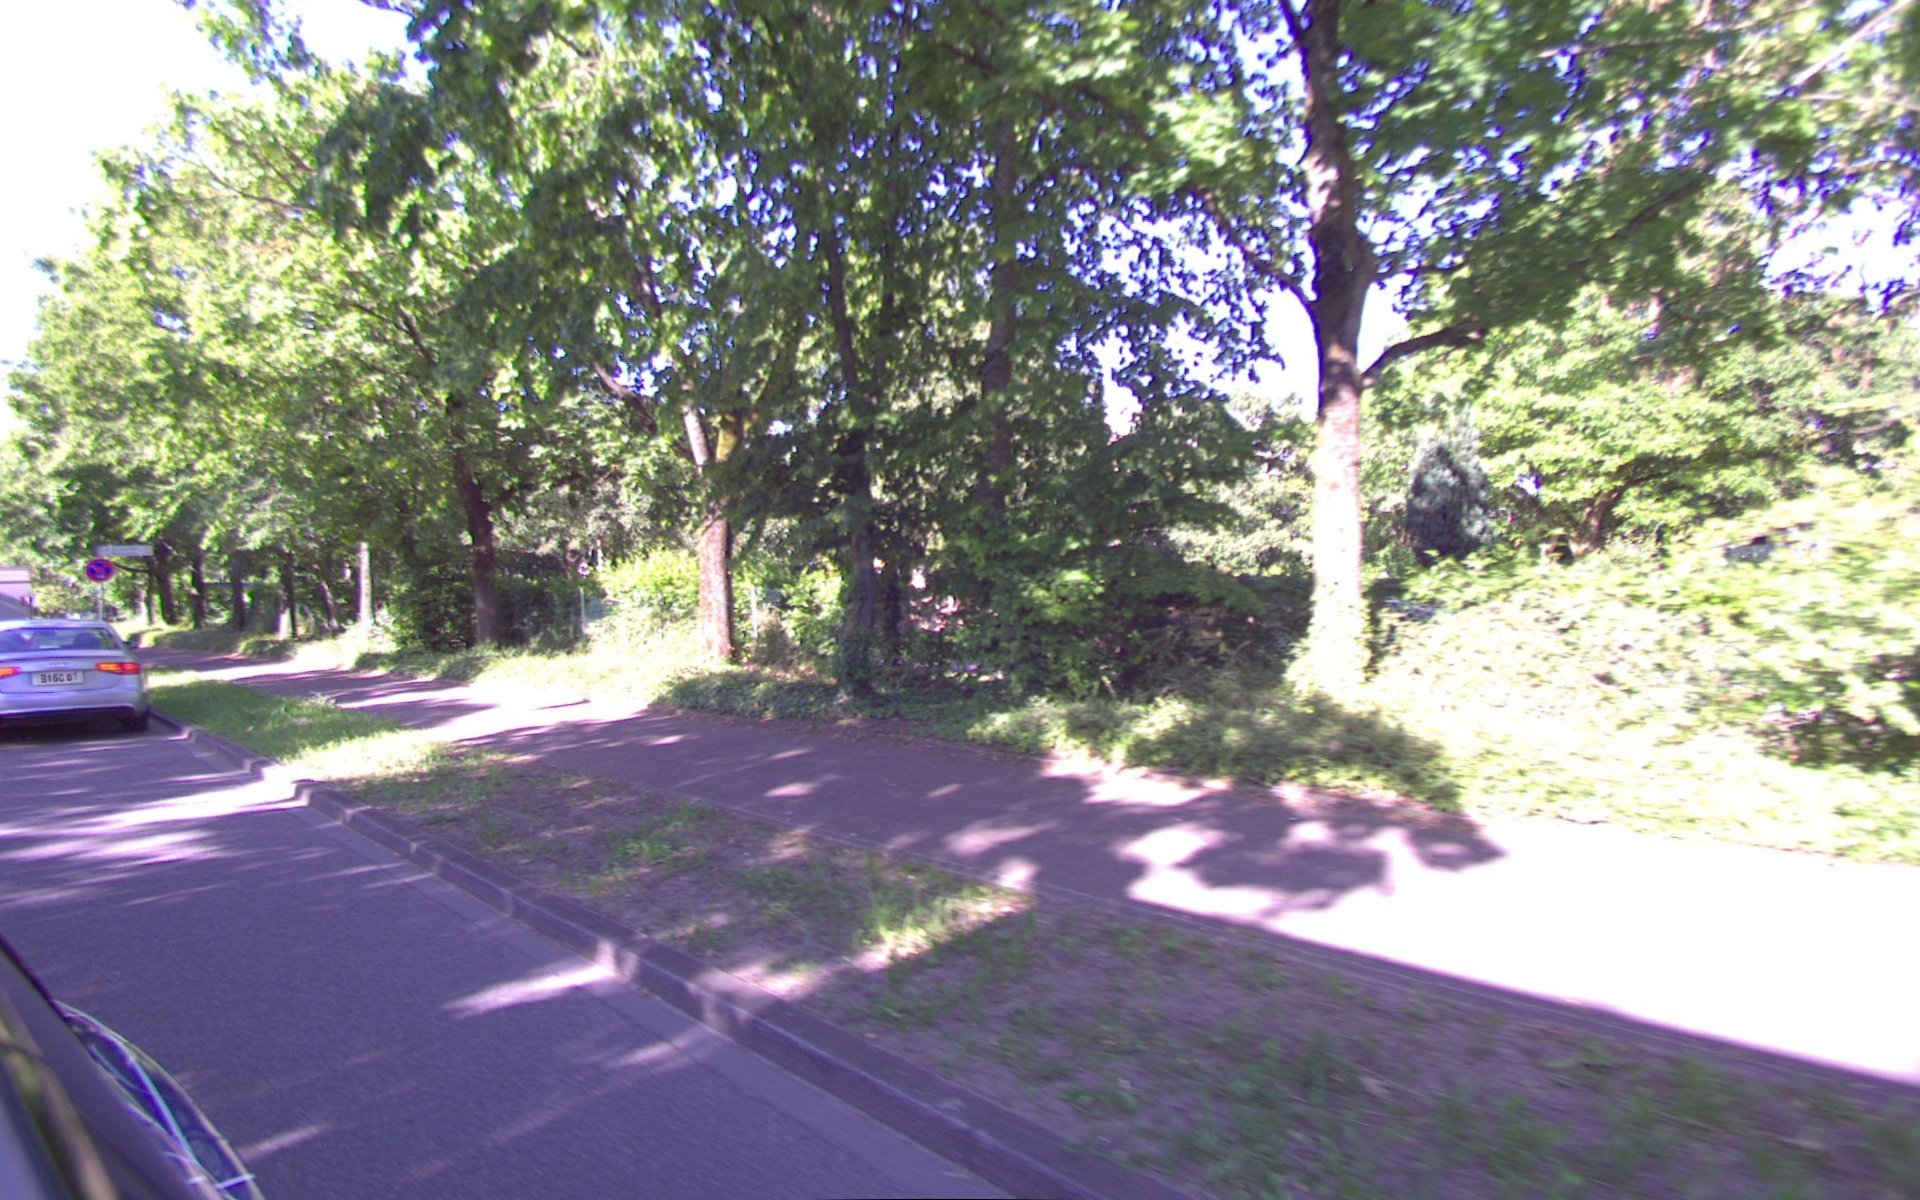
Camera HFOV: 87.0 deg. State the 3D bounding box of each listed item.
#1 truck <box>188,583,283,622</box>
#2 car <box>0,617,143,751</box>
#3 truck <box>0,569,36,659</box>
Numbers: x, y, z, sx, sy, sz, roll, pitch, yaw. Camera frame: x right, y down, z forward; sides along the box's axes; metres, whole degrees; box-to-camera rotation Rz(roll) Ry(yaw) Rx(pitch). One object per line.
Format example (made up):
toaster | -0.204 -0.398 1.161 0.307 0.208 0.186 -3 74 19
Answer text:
truck | -40.388 0.132 56.490 2.204 2.029 3.944 -2 -1 43
car | -11.610 0.965 12.726 1.765 1.427 4.108 -1 -1 -43
truck | -42.348 0.672 43.997 8.104 3.668 2.704 -2 1 45
